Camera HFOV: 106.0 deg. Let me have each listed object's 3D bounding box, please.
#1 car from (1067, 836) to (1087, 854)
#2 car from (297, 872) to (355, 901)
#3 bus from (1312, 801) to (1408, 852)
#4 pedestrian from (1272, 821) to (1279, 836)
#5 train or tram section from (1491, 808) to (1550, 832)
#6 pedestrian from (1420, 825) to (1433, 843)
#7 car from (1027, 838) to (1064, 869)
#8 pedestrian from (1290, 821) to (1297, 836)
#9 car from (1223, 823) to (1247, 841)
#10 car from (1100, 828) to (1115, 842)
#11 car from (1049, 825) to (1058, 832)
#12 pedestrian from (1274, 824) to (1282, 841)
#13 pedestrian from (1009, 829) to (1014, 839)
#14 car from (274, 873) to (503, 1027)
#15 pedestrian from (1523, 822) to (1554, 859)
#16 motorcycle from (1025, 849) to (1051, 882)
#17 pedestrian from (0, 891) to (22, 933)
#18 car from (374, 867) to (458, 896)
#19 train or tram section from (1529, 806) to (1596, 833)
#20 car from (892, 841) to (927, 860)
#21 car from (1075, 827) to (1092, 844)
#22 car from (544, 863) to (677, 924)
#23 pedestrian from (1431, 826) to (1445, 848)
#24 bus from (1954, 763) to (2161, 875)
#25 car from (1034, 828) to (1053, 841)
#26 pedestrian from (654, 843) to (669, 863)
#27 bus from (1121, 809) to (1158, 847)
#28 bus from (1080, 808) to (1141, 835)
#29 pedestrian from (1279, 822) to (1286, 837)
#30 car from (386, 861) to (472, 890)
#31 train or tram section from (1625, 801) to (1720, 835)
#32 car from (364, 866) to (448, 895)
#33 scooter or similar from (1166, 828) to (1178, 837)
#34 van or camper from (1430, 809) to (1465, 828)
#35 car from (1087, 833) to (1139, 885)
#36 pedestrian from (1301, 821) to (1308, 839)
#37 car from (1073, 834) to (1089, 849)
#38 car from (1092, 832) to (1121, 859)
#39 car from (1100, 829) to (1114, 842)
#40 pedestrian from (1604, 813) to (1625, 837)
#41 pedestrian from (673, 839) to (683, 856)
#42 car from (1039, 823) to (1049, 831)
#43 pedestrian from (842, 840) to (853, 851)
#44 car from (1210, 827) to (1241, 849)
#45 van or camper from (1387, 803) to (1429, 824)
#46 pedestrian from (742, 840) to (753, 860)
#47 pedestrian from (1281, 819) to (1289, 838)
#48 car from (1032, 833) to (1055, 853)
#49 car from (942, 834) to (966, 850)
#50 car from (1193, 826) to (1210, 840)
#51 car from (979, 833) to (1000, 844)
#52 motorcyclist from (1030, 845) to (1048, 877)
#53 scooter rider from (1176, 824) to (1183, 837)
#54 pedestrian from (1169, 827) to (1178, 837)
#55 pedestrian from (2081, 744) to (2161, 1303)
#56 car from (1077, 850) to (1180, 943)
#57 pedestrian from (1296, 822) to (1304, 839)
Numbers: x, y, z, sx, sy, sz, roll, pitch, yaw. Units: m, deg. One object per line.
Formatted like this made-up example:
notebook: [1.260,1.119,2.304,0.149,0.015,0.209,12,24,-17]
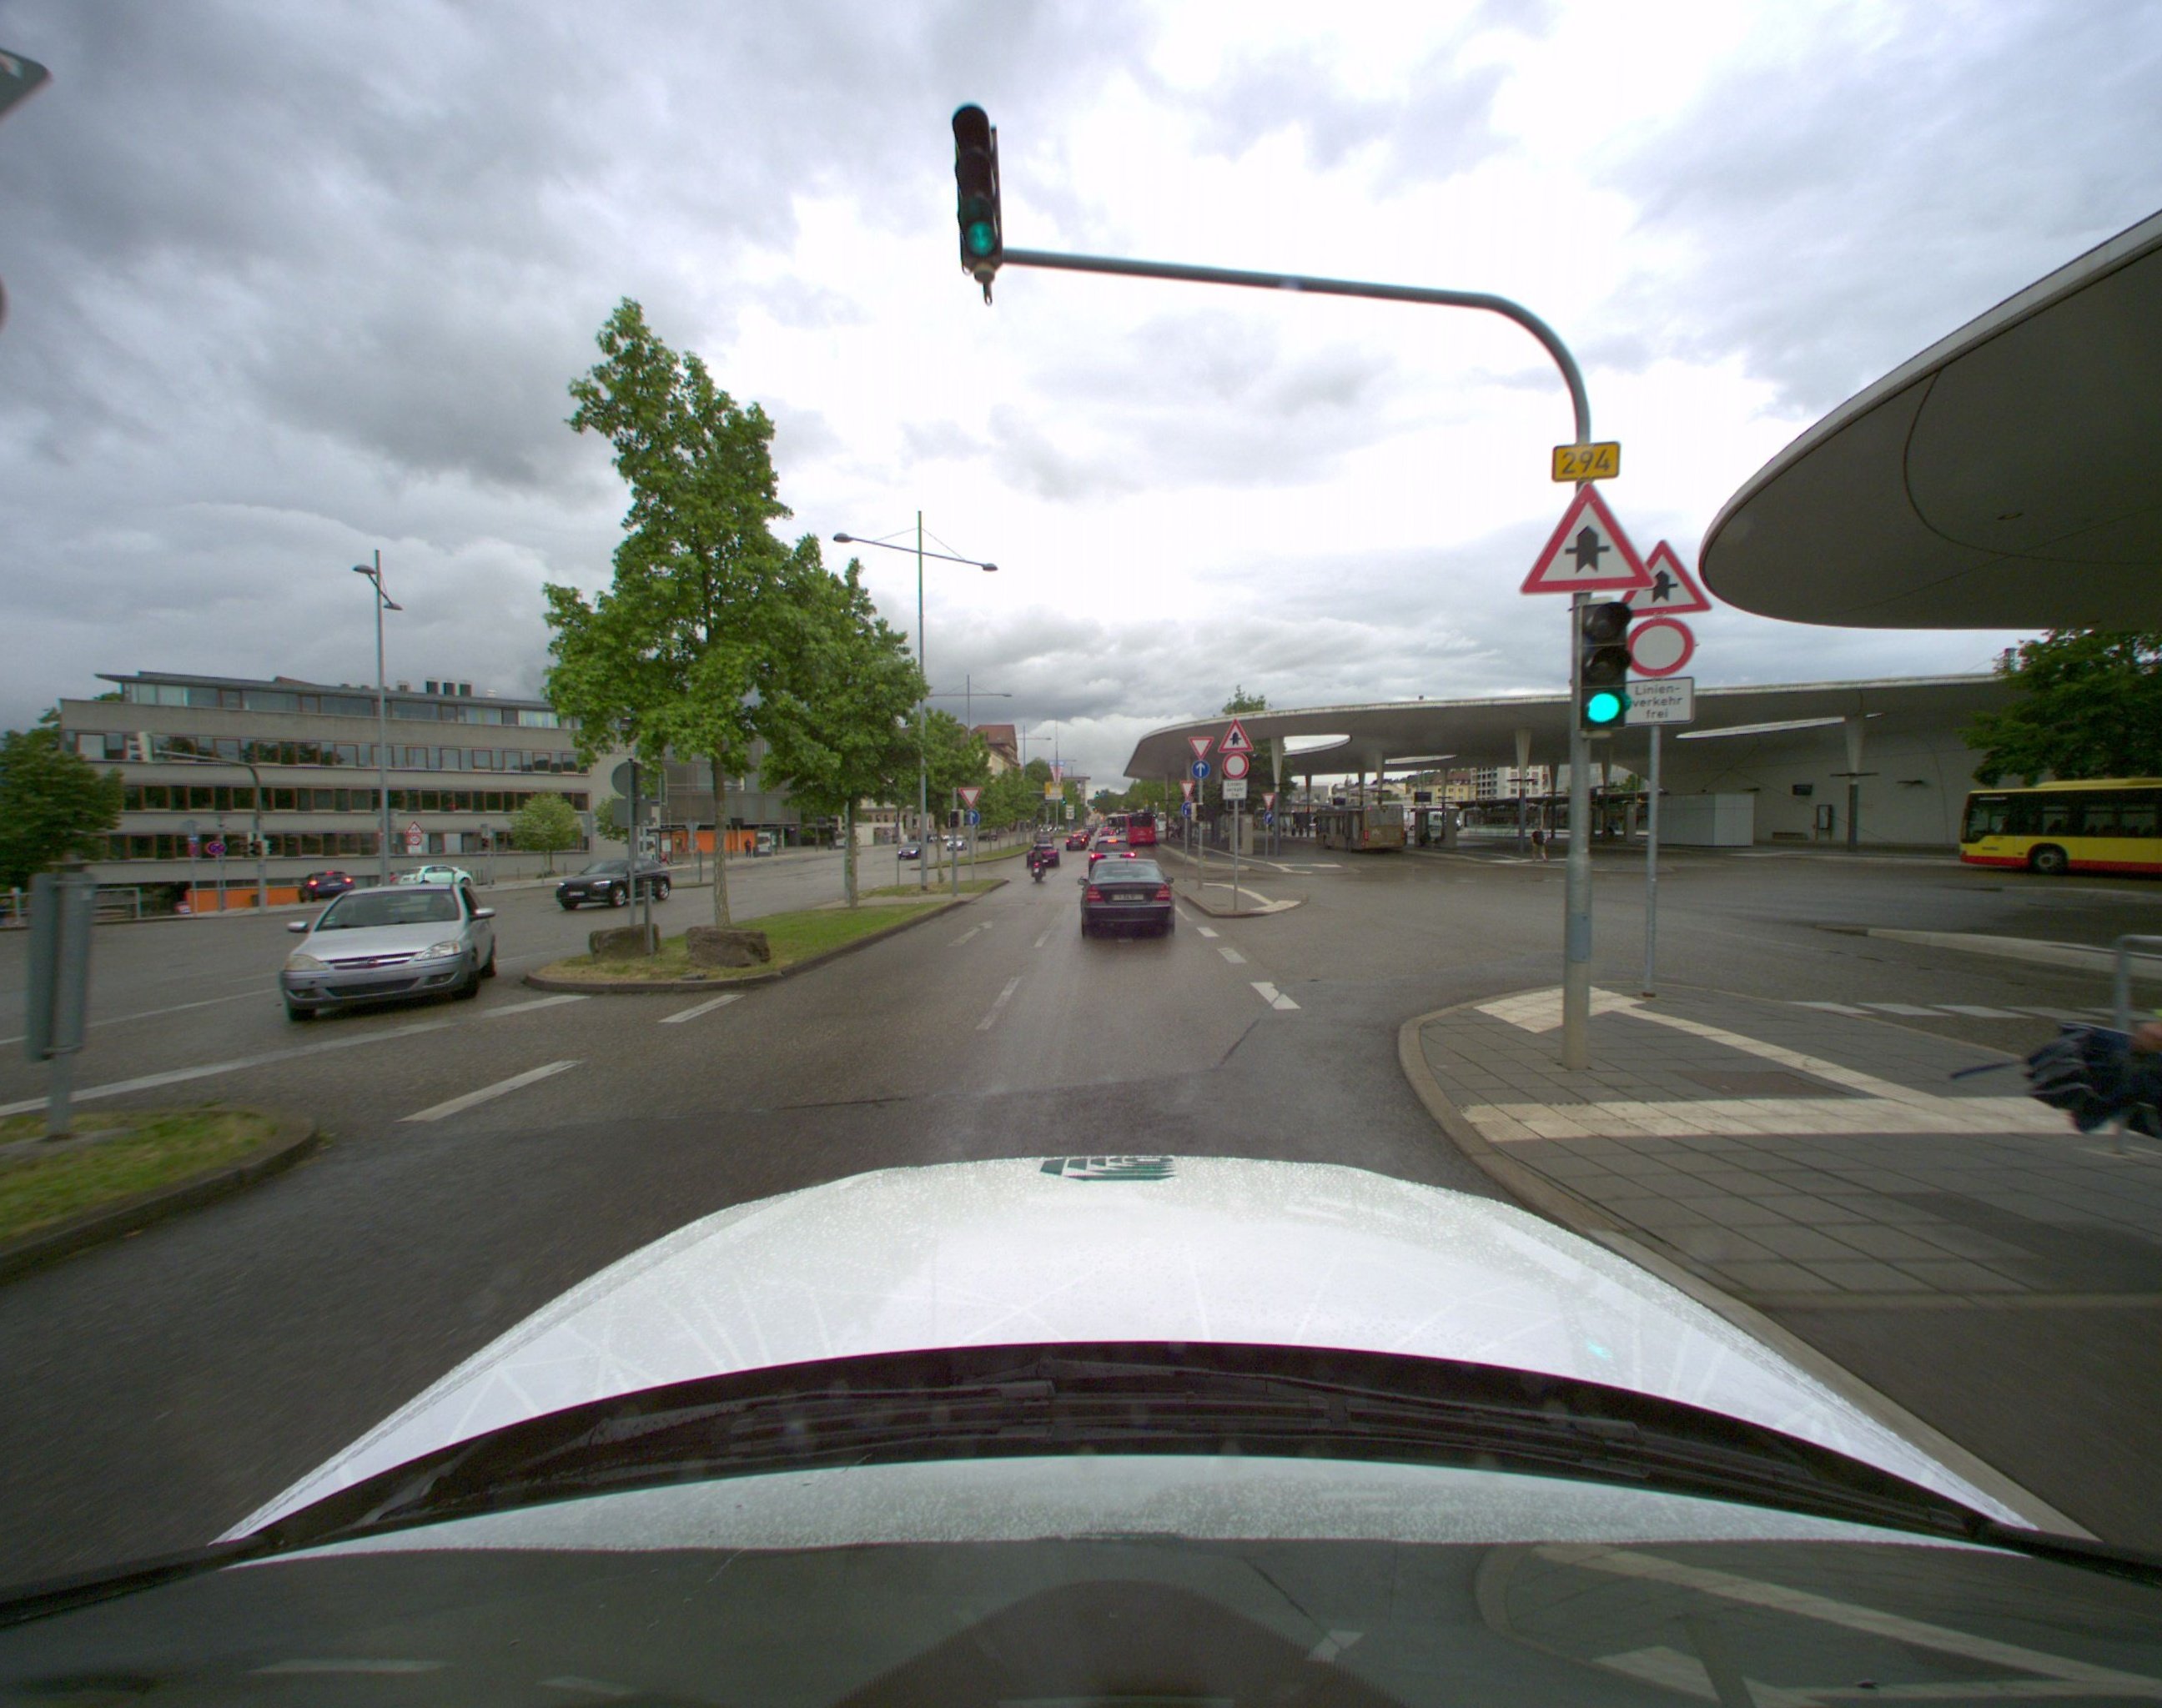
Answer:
car: [-0.359,-0.834,75.439,1.569,1.504,3.874,-3,2,2]
car: [-39.689,1.664,42.789,3.536,1.350,1.493,0,1,36]
bus: [18.885,-1.933,56.096,2.711,3.043,12.095,-2,2,2]
pedestrian: [21.917,-2.857,91.811,0.574,1.578,0.565,1,-2,31]
train or tram section: [72.154,-5.625,134.064,3.120,3.658,12.328,2,2,1]
pedestrian: [23.575,-1.353,55.549,0.786,1.226,0.637,-1,2,18]
car: [-2.086,-0.054,49.324,1.809,1.570,4.406,-3,2,2]
pedestrian: [24.052,-2.877,92.058,0.573,1.578,0.565,1,-2,36]
car: [15.292,-2.203,81.109,1.706,1.662,4.241,0,2,1]
car: [3.121,-2.245,96.331,1.570,1.567,3.873,-3,2,2]
car: [-6.238,-5.812,185.119,1.570,1.567,3.432,-3,2,2]
pedestrian: [19.017,-2.087,78.619,0.597,1.581,0.710,-1,0,-8]
pedestrian: [-14.132,-4.115,165.345,0.727,2.013,0.820,-3,2,-25]
car: [-8.516,1.021,10.360,1.643,1.448,3.836,-3,1,-32]
pedestrian: [21.344,-0.632,37.990,0.721,1.683,1.013,-4,2,-24]
motorcycle: [-1.811,0.492,34.709,0.789,1.262,1.858,-3,2,5]
pedestrian: [-42.708,2.295,32.206,0.669,1.583,0.705,-1,1,-1]
car: [-39.931,1.628,48.994,1.615,1.495,3.599,-1,2,17]
train or tram section: [71.920,-5.174,122.073,3.120,3.658,11.621,2,2,1]
car: [-14.965,-0.322,71.298,1.840,1.504,4.923,-1,2,3]
car: [0.269,-1.935,85.224,1.570,1.567,3.873,-3,2,2]
car: [-16.341,1.295,28.649,1.903,1.661,4.856,-1,3,-2]
pedestrian: [23.432,-1.112,53.479,0.786,1.377,0.637,-1,2,18]
bus: [32.637,-1.020,23.087,2.779,3.256,12.141,-1,2,0]
car: [-5.241,-2.684,113.105,1.869,1.684,3.979,2,-1,-15]
pedestrian: [-30.074,-0.058,58.406,0.676,1.392,0.721,-1,1,-1]
bus: [5.597,-2.571,79.637,3.273,3.291,10.886,-2,2,2]
bus: [4.646,-5.250,131.700,2.861,3.987,11.730,-3,2,-37]
pedestrian: [22.986,-2.800,92.805,0.573,1.716,0.565,1,-2,36]
car: [-38.358,1.228,47.994,1.615,1.495,3.599,-1,2,17]
train or tram section: [71.391,-4.323,98.827,3.120,3.677,11.620,2,2,1]
car: [-42.908,1.653,51.801,1.743,1.495,3.813,0,2,40]
scooter or similar: [10.234,-2.424,91.859,1.233,1.013,0.767,-1,1,15]
van or camper: [45.360,-4.393,100.919,1.986,2.103,5.481,2,0,1]
car: [1.339,0.141,34.908,1.950,1.875,4.876,-3,2,2]
pedestrian: [23.760,-2.519,86.519,0.583,1.874,0.721,1,2,30]
car: [0.002,-1.599,103.532,1.859,1.684,4.001,2,-1,1]
car: [1.689,-0.606,54.266,1.734,1.567,3.873,-3,2,2]
car: [3.556,-2.524,113.213,1.859,1.684,4.001,2,-1,1]
pedestrian: [36.176,-1.984,55.263,0.793,1.586,0.907,1,1,-5]
pedestrian: [-42.644,-0.696,86.188,0.469,1.683,0.647,-1,2,32]
car: [-8.185,-5.888,179.192,1.773,1.567,3.432,-3,2,2]
pedestrian: [-27.949,-1.009,97.482,0.967,1.267,0.854,3,3,22]
car: [10.657,-1.206,60.191,1.642,1.452,3.238,-1,2,0]
van or camper: [43.036,-5.316,107.270,4.592,2.558,2.119,2,0,0]
pedestrian: [-29.124,-0.368,71.178,0.471,1.683,0.765,-2,2,8]
pedestrian: [22.127,-2.786,88.327,0.717,2.014,0.674,1,-2,28]
car: [-3.407,-1.006,74.848,1.670,1.623,3.873,-3,2,2]
car: [-14.227,-1.352,91.744,1.840,1.652,4.421,-1,2,1]
car: [15.469,-2.730,104.787,1.706,1.662,4.241,0,2,1]
car: [-14.306,-2.431,127.361,1.739,1.561,3.730,-1,0,-32]
motorcyclist: [-1.789,0.295,34.912,0.638,1.347,0.690,-2,2,5]
scooter rider: [11.106,-2.650,91.637,0.587,1.489,0.768,-1,1,15]
pedestrian: [10.416,-2.478,91.815,0.906,0.985,0.636,0,-2,15]
pedestrian: [3.490,0.505,2.327,0.520,1.670,0.580,0,-1,1]
car: [0.848,0.710,15.844,1.691,1.462,4.305,-2,1,1]
pedestrian: [21.316,-2.299,79.334,0.559,1.691,0.612,-1,2,-5]
